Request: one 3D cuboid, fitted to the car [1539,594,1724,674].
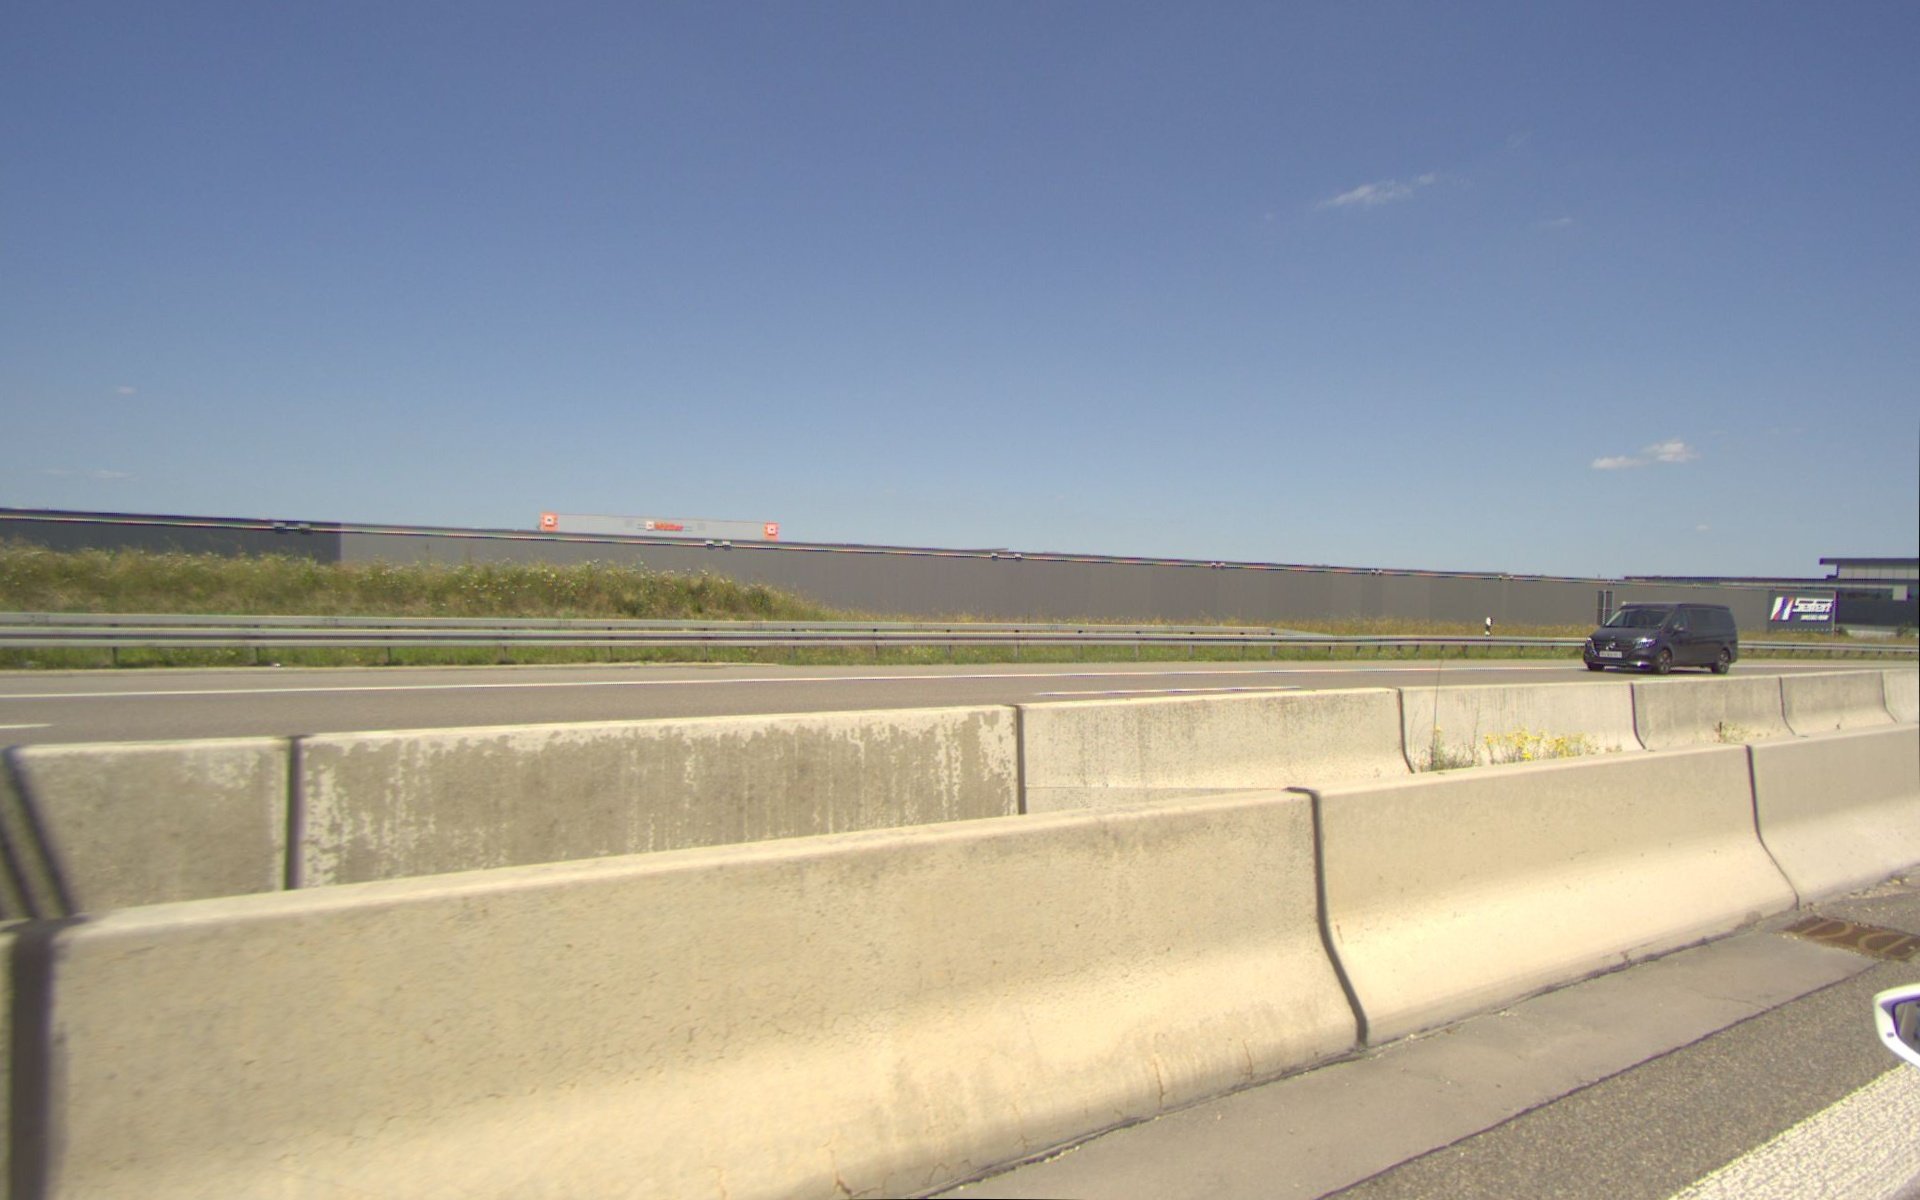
[{"bbox_3d":[18.691,0.925,27.900,5.318,2.040,2.137,1,0,-30],"label":"car"}]
